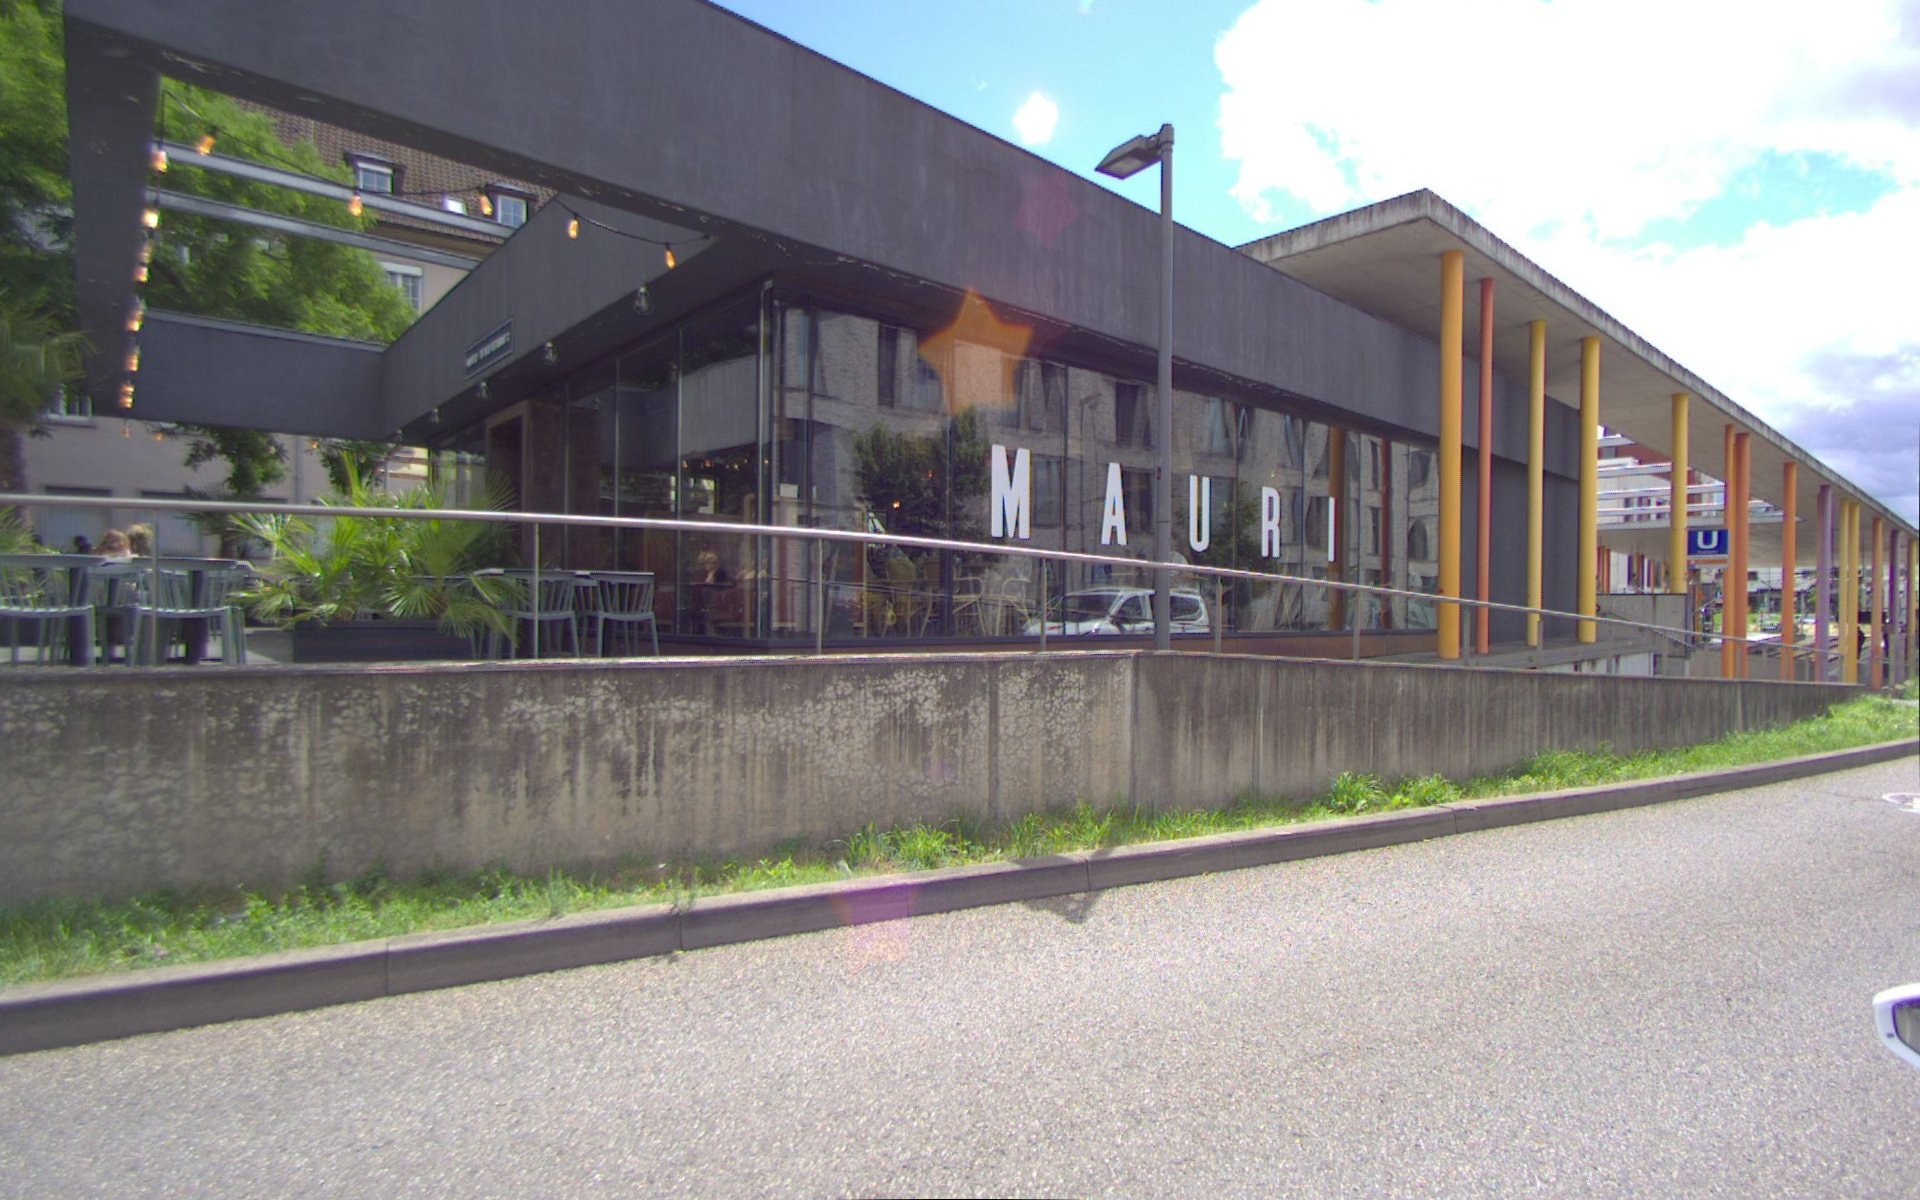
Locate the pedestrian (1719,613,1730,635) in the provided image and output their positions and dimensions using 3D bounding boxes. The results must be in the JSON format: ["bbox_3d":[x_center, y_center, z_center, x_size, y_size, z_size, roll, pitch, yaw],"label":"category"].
[{"bbox_3d":[65.032,2.013,85.445,0.589,1.832,0.636,3,0,-42],"label":"pedestrian"}]

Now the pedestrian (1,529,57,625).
[{"bbox_3d":[-18.373,-0.446,19.837,0.586,1.832,0.639,3,0,-28],"label":"pedestrian"}]

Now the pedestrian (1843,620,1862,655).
[{"bbox_3d":[48.107,2.028,54.135,0.589,1.832,0.636,3,0,-42],"label":"pedestrian"}]

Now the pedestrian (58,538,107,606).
[{"bbox_3d":[-18.245,-0.568,20.888,0.586,1.356,0.639,3,0,-28],"label":"pedestrian"}]

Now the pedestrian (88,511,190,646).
[{"bbox_3d":[-8.973,-0.221,10.988,0.787,1.397,0.791,3,0,-41],"label":"pedestrian"}]

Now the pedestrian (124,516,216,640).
[{"bbox_3d":[-9.473,-0.250,12.038,0.787,1.397,0.791,3,0,-41],"label":"pedestrian"}]
